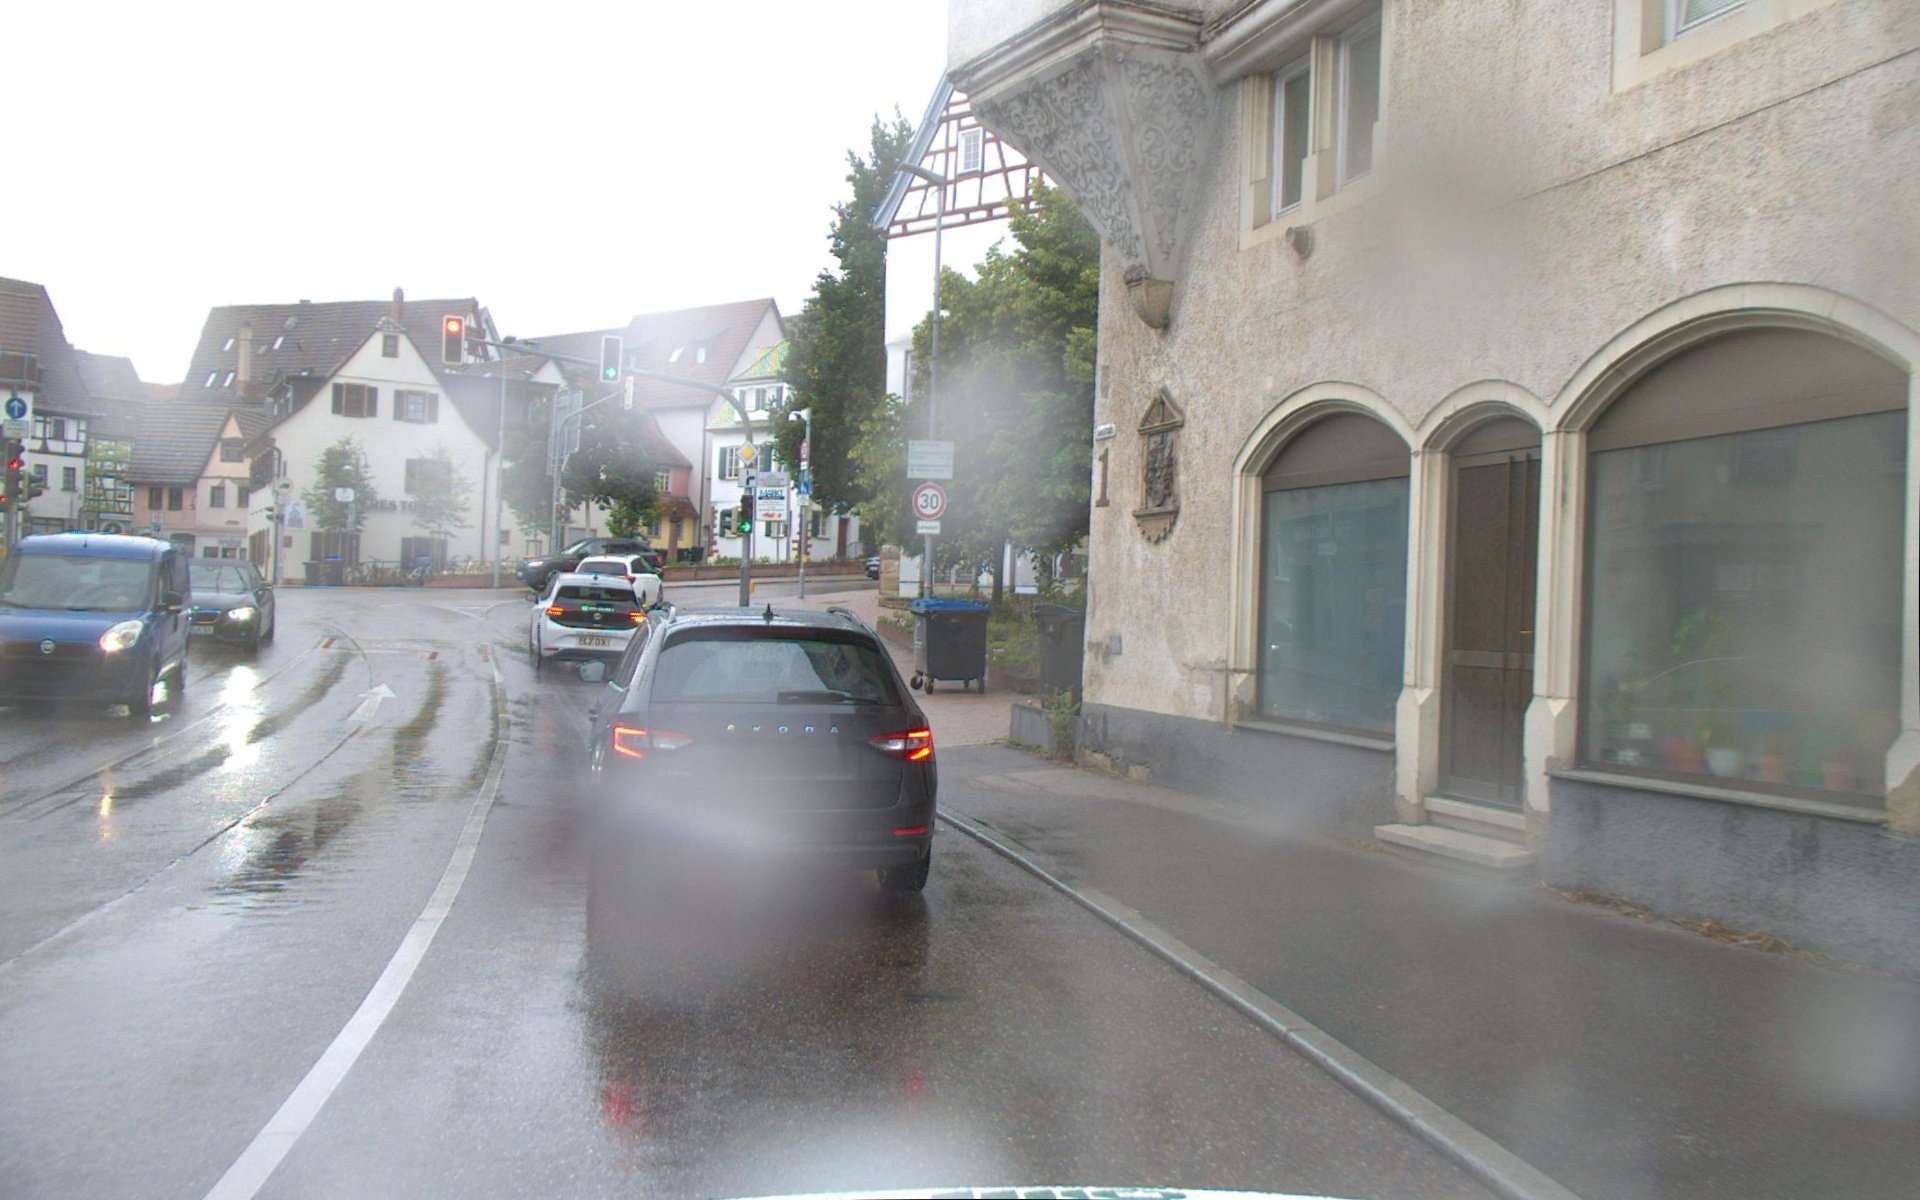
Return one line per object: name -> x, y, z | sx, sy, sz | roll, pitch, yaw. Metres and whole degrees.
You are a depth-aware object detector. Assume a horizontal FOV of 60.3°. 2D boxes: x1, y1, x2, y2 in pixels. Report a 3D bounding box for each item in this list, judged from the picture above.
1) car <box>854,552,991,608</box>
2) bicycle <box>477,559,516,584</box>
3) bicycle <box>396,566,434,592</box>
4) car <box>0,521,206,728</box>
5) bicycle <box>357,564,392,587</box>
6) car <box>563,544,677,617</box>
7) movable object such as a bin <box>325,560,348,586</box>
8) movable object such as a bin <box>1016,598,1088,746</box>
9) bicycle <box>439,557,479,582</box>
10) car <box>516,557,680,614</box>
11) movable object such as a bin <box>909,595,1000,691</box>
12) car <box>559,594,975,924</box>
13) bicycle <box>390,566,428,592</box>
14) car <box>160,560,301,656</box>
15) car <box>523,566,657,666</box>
car -> -1.217, -0.622, 53.373 | 3.930, 1.324, 1.988 | 7, -2, -21
bicycle -> -18.063, -1.118, 64.536 | 0.386, 0.927, 1.461 | 6, 4, 41
bicycle -> -20.313, -0.769, 61.684 | 0.384, 0.928, 1.467 | 2, 1, 29
car -> -9.533, 0.165, 18.065 | 1.964, 1.914, 4.354 | 2, 2, -20
bicycle -> -21.449, -0.904, 60.591 | 0.330, 0.832, 1.437 | 5, 3, 20
car -> -8.220, -0.467, 40.336 | 1.847, 1.623, 4.325 | 2, 1, 0
movable object such as a bin -> -23.001, -0.998, 61.053 | 0.574, 0.917, 0.584 | 3, 1, 43
movable object such as a bin -> 0.932, 0.726, 16.783 | 0.409, 1.467, 0.635 | 2, -2, -39
bicycle -> -19.271, -1.170, 63.625 | 0.386, 0.927, 1.461 | 6, 4, 41
car -> -11.332, -0.461, 51.886 | 4.686, 1.616, 1.811 | 2, 1, -32
movable object such as a bin -> -0.089, 0.619, 24.259 | 1.133, 1.336, 1.184 | 2, 0, -10
car -> -1.216, 0.737, 9.696 | 1.852, 1.473, 4.347 | 2, 0, -10
bicycle -> -20.647, -0.776, 62.032 | 0.384, 0.928, 1.467 | 2, 1, 29
car -> -11.955, 0.082, 27.337 | 1.834, 1.411, 4.237 | 2, 1, -21
car -> -6.291, 0.218, 27.832 | 1.827, 1.498, 3.981 | 2, 1, -18
